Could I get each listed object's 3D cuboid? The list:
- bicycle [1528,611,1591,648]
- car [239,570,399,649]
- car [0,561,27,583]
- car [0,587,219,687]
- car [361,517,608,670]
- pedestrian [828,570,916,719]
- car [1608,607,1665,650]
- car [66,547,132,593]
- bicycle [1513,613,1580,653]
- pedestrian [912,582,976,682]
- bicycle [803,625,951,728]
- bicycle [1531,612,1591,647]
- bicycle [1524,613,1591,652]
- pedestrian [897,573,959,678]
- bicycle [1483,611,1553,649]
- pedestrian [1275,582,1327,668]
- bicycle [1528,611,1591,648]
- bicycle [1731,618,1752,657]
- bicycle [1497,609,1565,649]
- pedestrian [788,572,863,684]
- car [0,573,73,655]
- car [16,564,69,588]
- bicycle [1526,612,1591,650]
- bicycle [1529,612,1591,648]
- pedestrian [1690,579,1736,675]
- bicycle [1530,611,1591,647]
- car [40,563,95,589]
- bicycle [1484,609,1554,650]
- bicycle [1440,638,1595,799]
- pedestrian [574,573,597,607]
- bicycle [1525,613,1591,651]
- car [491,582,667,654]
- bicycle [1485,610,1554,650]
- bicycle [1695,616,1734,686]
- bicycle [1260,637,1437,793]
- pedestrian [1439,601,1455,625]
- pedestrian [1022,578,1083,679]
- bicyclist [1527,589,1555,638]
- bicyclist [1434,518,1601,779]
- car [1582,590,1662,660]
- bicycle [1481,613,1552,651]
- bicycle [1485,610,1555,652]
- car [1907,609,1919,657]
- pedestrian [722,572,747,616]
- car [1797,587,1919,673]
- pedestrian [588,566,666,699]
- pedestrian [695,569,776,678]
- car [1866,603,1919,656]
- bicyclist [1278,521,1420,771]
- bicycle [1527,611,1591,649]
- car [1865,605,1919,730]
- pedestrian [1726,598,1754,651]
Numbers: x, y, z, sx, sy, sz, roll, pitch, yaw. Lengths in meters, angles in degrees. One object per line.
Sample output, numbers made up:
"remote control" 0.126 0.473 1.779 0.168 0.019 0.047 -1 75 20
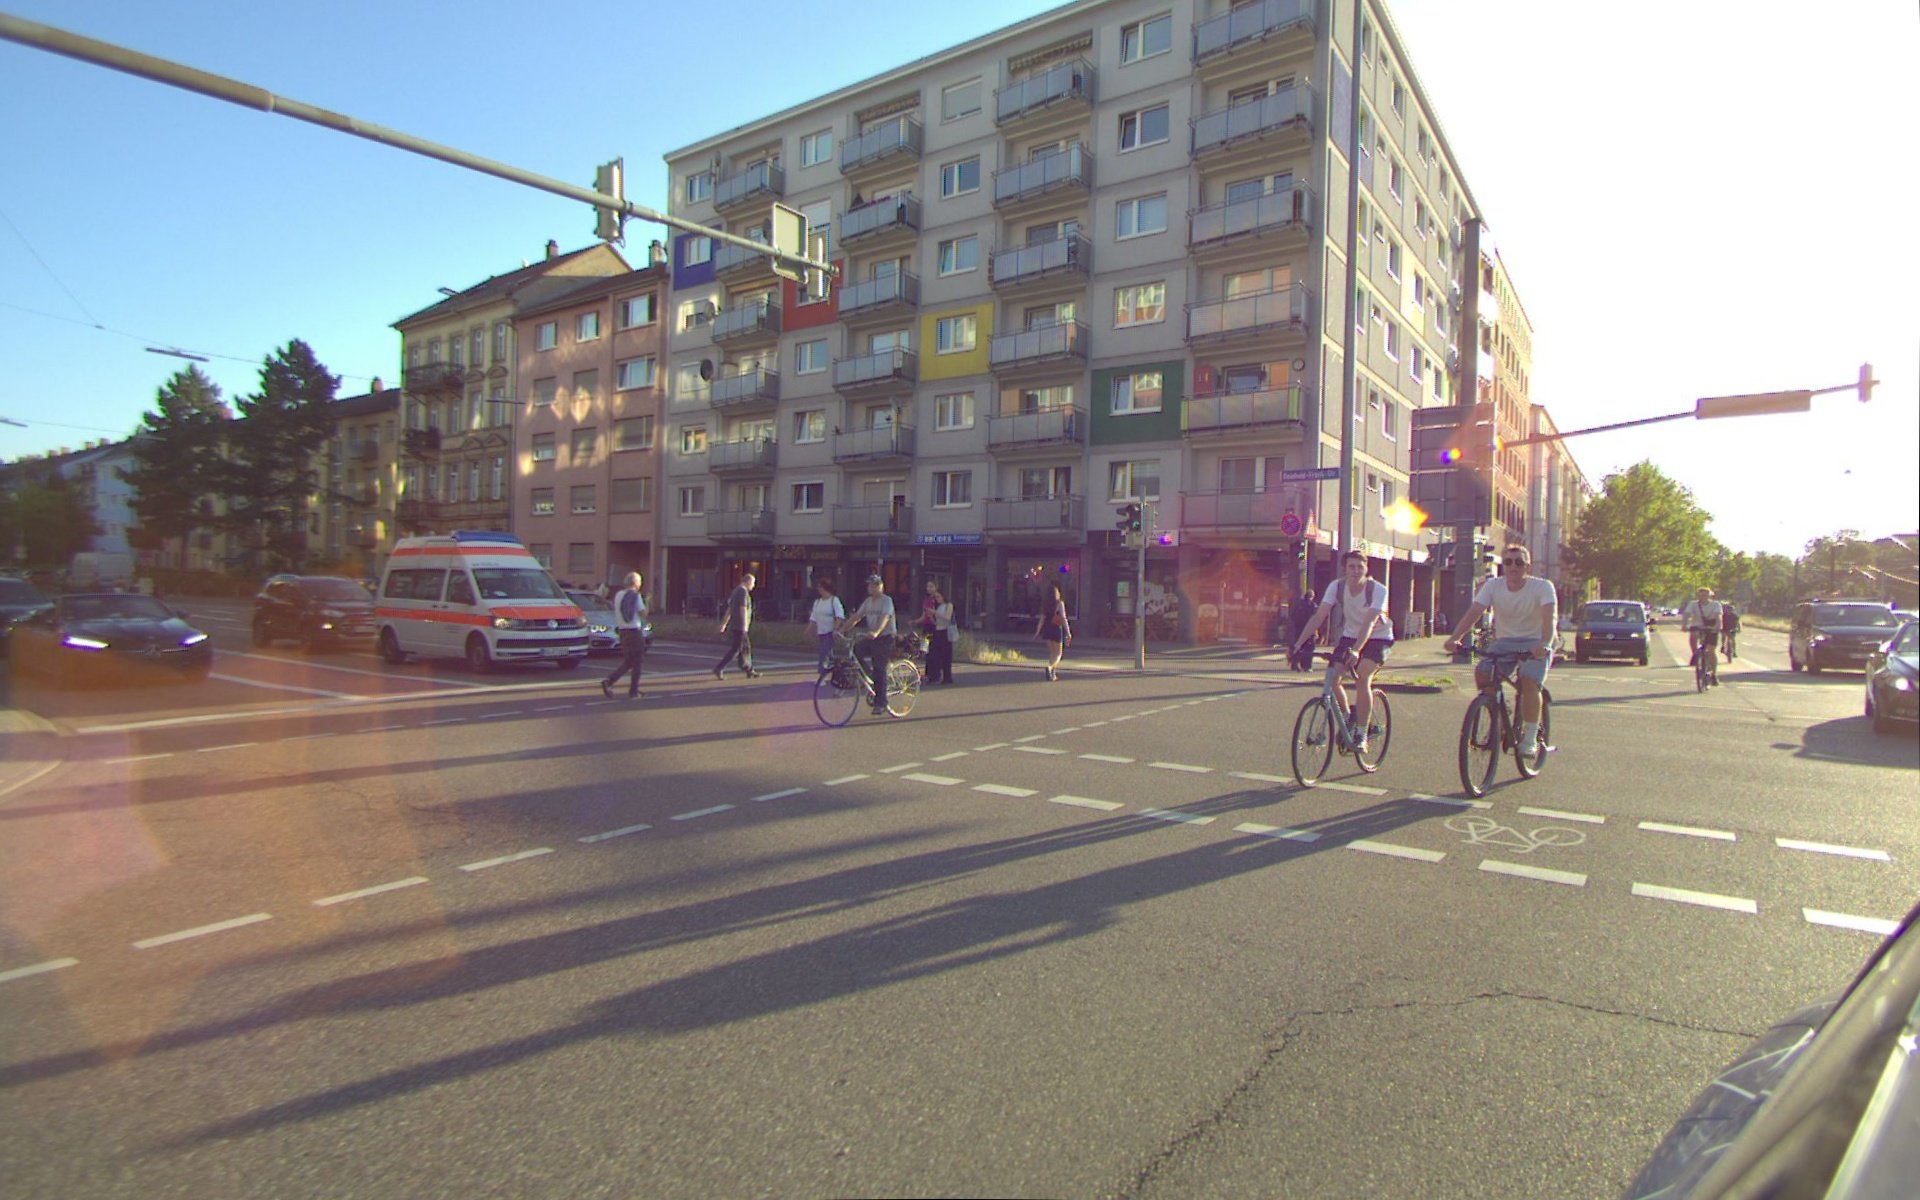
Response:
"bicycle" 21.289 1.037 35.959 1.860 1.139 0.561 5 2 33
"car" -14.278 0.160 22.479 4.059 1.590 1.577 2 1 35
"car" -72.615 -2.138 76.789 3.821 1.616 1.852 2 1 34
"car" -13.920 0.509 16.461 4.652 1.358 1.815 2 1 38
"car" -8.965 -0.162 18.877 5.235 2.514 1.901 1 0 36
"pedestrian" -0.999 0.471 11.498 0.675 1.609 0.750 1 2 43
"car" 25.466 1.040 38.078 1.678 1.499 3.494 -1 0 35
"car" -53.890 -1.905 63.325 4.517 2.755 2.065 2 0 34
"bicycle" 19.536 1.088 33.732 1.860 1.139 0.561 5 2 33
"pedestrian" -0.252 0.486 15.877 0.680 1.518 0.736 1 0 37
"bicycle" -0.908 0.826 11.489 0.520 0.993 1.822 2 2 42
"bicycle" 22.474 1.076 37.885 1.860 1.139 0.561 5 2 33
"bicycle" 20.100 1.090 34.040 1.860 1.139 0.561 5 2 33
"pedestrian" -0.529 0.402 16.788 0.680 1.683 0.736 1 0 37
"bicycle" 17.323 0.918 31.426 1.861 1.074 0.600 2 1 34
"pedestrian" 7.086 0.495 21.028 0.661 1.726 1.056 1 0 40
"bicycle" 21.585 1.056 36.445 1.860 1.139 0.561 5 2 33
"bicycle" 24.997 1.179 32.355 0.527 1.173 1.823 0 0 38
"bicycle" 18.836 0.953 33.395 1.860 1.139 0.561 5 2 33
"pedestrian" -2.097 0.415 15.810 0.726 1.683 0.893 1 0 37
"car" -19.522 0.235 20.442 3.755 1.529 1.732 2 1 38
"car" -63.493 -1.676 70.043 3.821 1.616 1.852 2 1 34
"bicycle" 20.693 1.056 35.001 1.860 1.139 0.561 5 2 33
"bicycle" 21.885 1.079 36.926 1.860 1.139 0.561 5 2 33
"pedestrian" 13.494 0.462 18.146 0.636 1.669 0.832 0 0 37
"bicycle" 22.176 1.056 37.401 1.860 1.139 0.561 5 2 33
"car" -58.679 -1.583 66.515 3.821 1.616 1.852 2 1 34
"bicycle" 17.907 0.939 32.431 1.860 1.139 0.561 5 2 33
"bicycle" 4.331 0.847 7.798 1.948 1.041 0.478 0 0 -43
"pedestrian" -17.783 -0.481 48.047 0.723 1.596 0.702 2 1 35
"bicycle" 20.398 1.083 34.520 1.860 1.139 0.561 5 2 33
"car" -8.420 0.329 22.251 3.977 1.393 1.783 2 2 37
"bicycle" 18.190 0.951 32.912 1.860 1.139 0.561 5 2 33
"bicycle" 13.582 0.883 18.236 0.527 1.173 1.825 0 0 36
"bicycle" 3.101 0.842 7.975 1.825 1.041 0.576 0 0 -43
"pedestrian" 23.423 0.616 48.683 0.602 1.166 0.718 1 0 35
"pedestrian" 1.531 0.454 16.686 0.681 1.609 0.735 1 0 40
"bicyclist" 22.582 0.514 39.342 0.740 1.830 1.367 1 0 38
"bicyclist" 4.285 0.336 7.766 1.040 1.830 0.827 1 0 -43
"car" 20.786 0.715 31.681 1.931 1.957 4.771 1 1 35
"bicycle" 16.979 0.970 30.887 1.861 1.074 0.600 2 1 34
"bicycle" 17.643 0.966 31.910 1.860 1.139 0.600 5 2 33
"car" 29.055 0.980 29.246 1.832 1.419 4.525 -1 -1 36
"pedestrian" -9.377 -0.244 42.117 0.725 1.798 0.700 2 0 43
"car" 23.438 0.698 26.471 1.908 2.015 4.886 1 1 34
"pedestrian" -4.492 0.415 13.661 0.567 1.723 0.801 1 0 37
"pedestrian" -3.701 0.365 16.691 0.781 1.723 1.013 1 0 37
"car" 33.588 0.973 35.521 1.943 1.734 4.791 -1 -1 34
"bicyclist" 3.083 0.331 8.007 0.977 1.830 0.674 1 0 -43
"bicycle" 20.992 1.034 35.481 1.860 1.139 0.561 5 2 33
"car" 12.201 0.754 12.129 1.768 1.324 4.181 1 1 39
"pedestrian" 24.918 0.760 32.331 0.675 1.669 0.889 0 0 38
